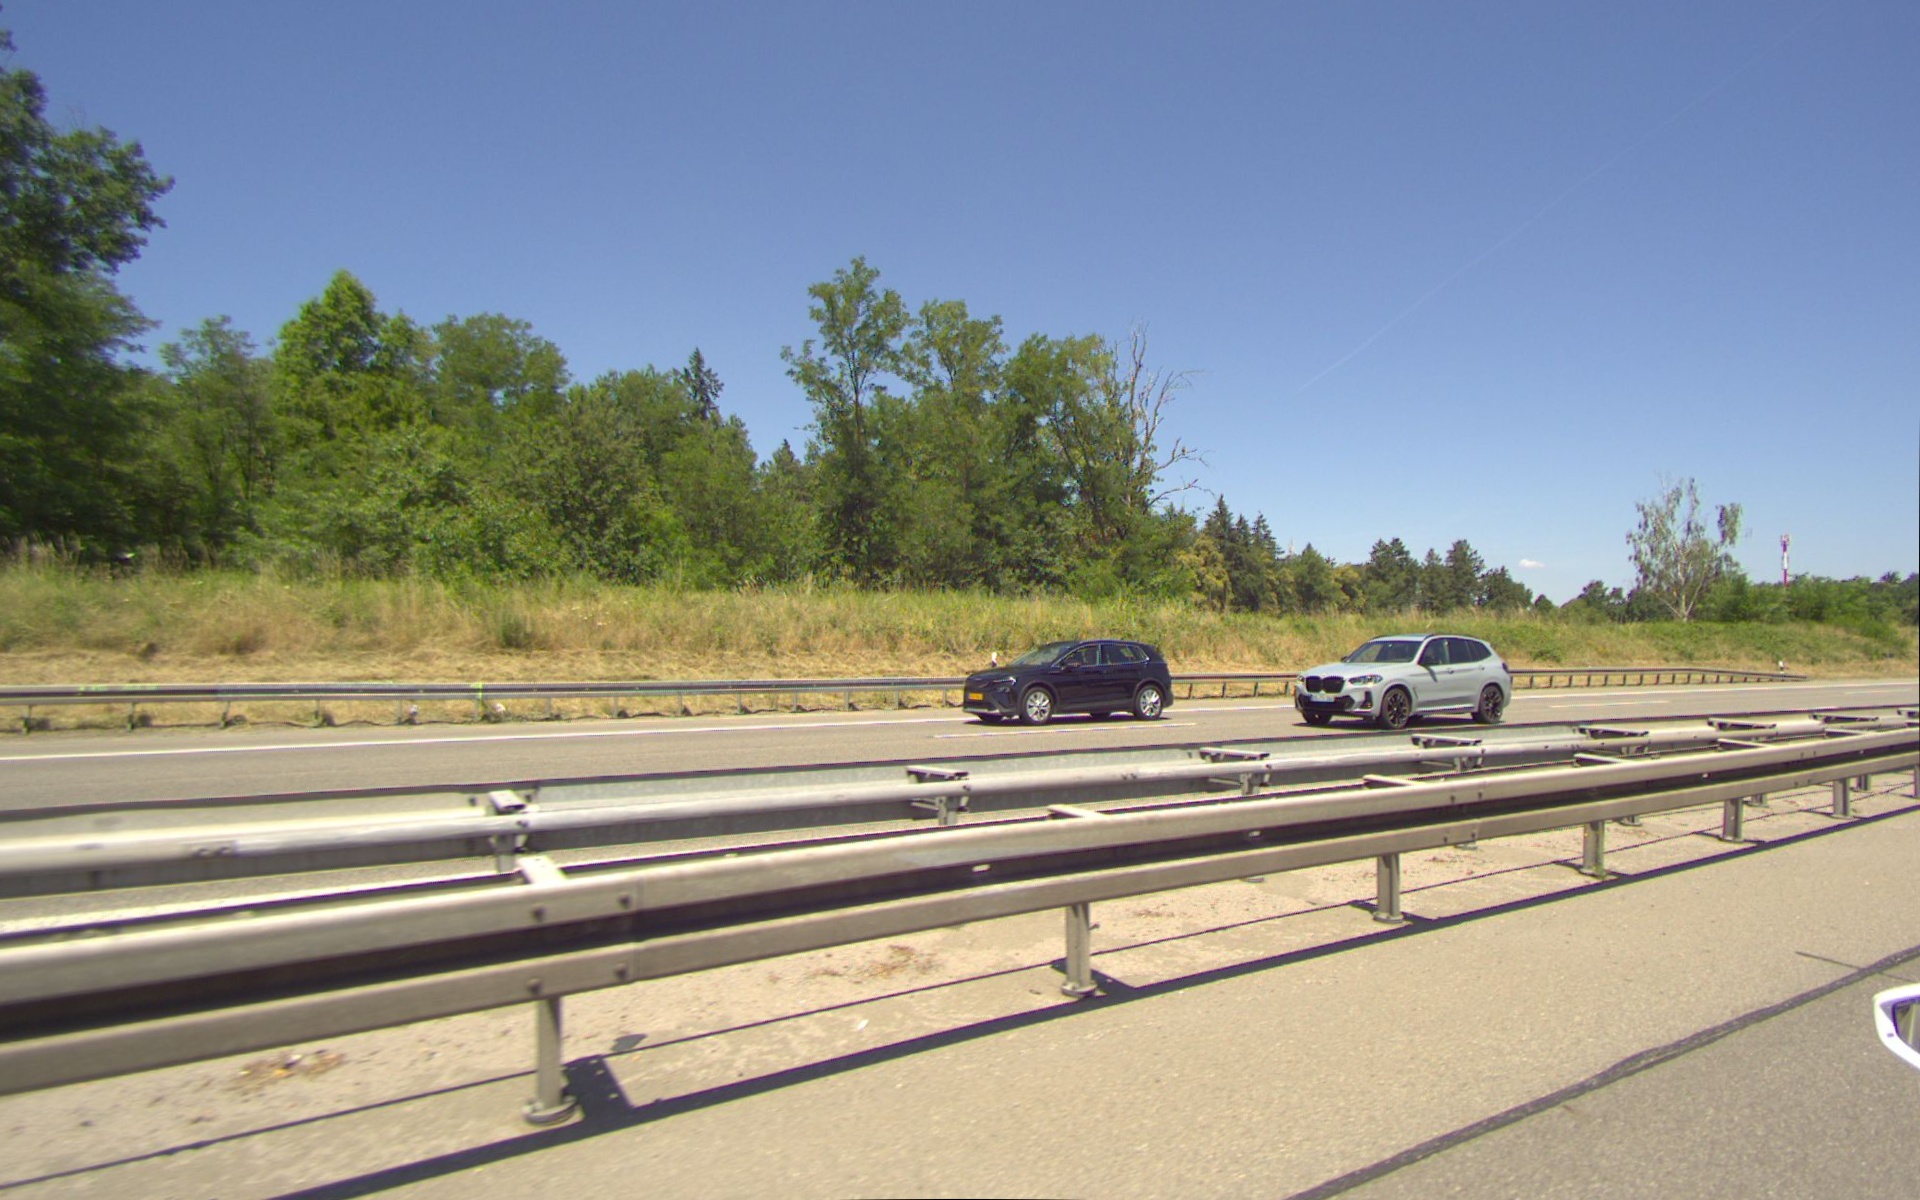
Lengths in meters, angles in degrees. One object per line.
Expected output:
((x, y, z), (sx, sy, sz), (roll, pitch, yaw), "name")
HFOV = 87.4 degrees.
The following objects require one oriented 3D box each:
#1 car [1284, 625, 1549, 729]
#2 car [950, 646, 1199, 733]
((8.696, 1.399, 19.003), (5.229, 1.740, 1.952), (2, -3, -31), "car")
((2.349, 1.713, 20.149), (4.893, 1.574, 1.823), (2, -3, -31), "car")
